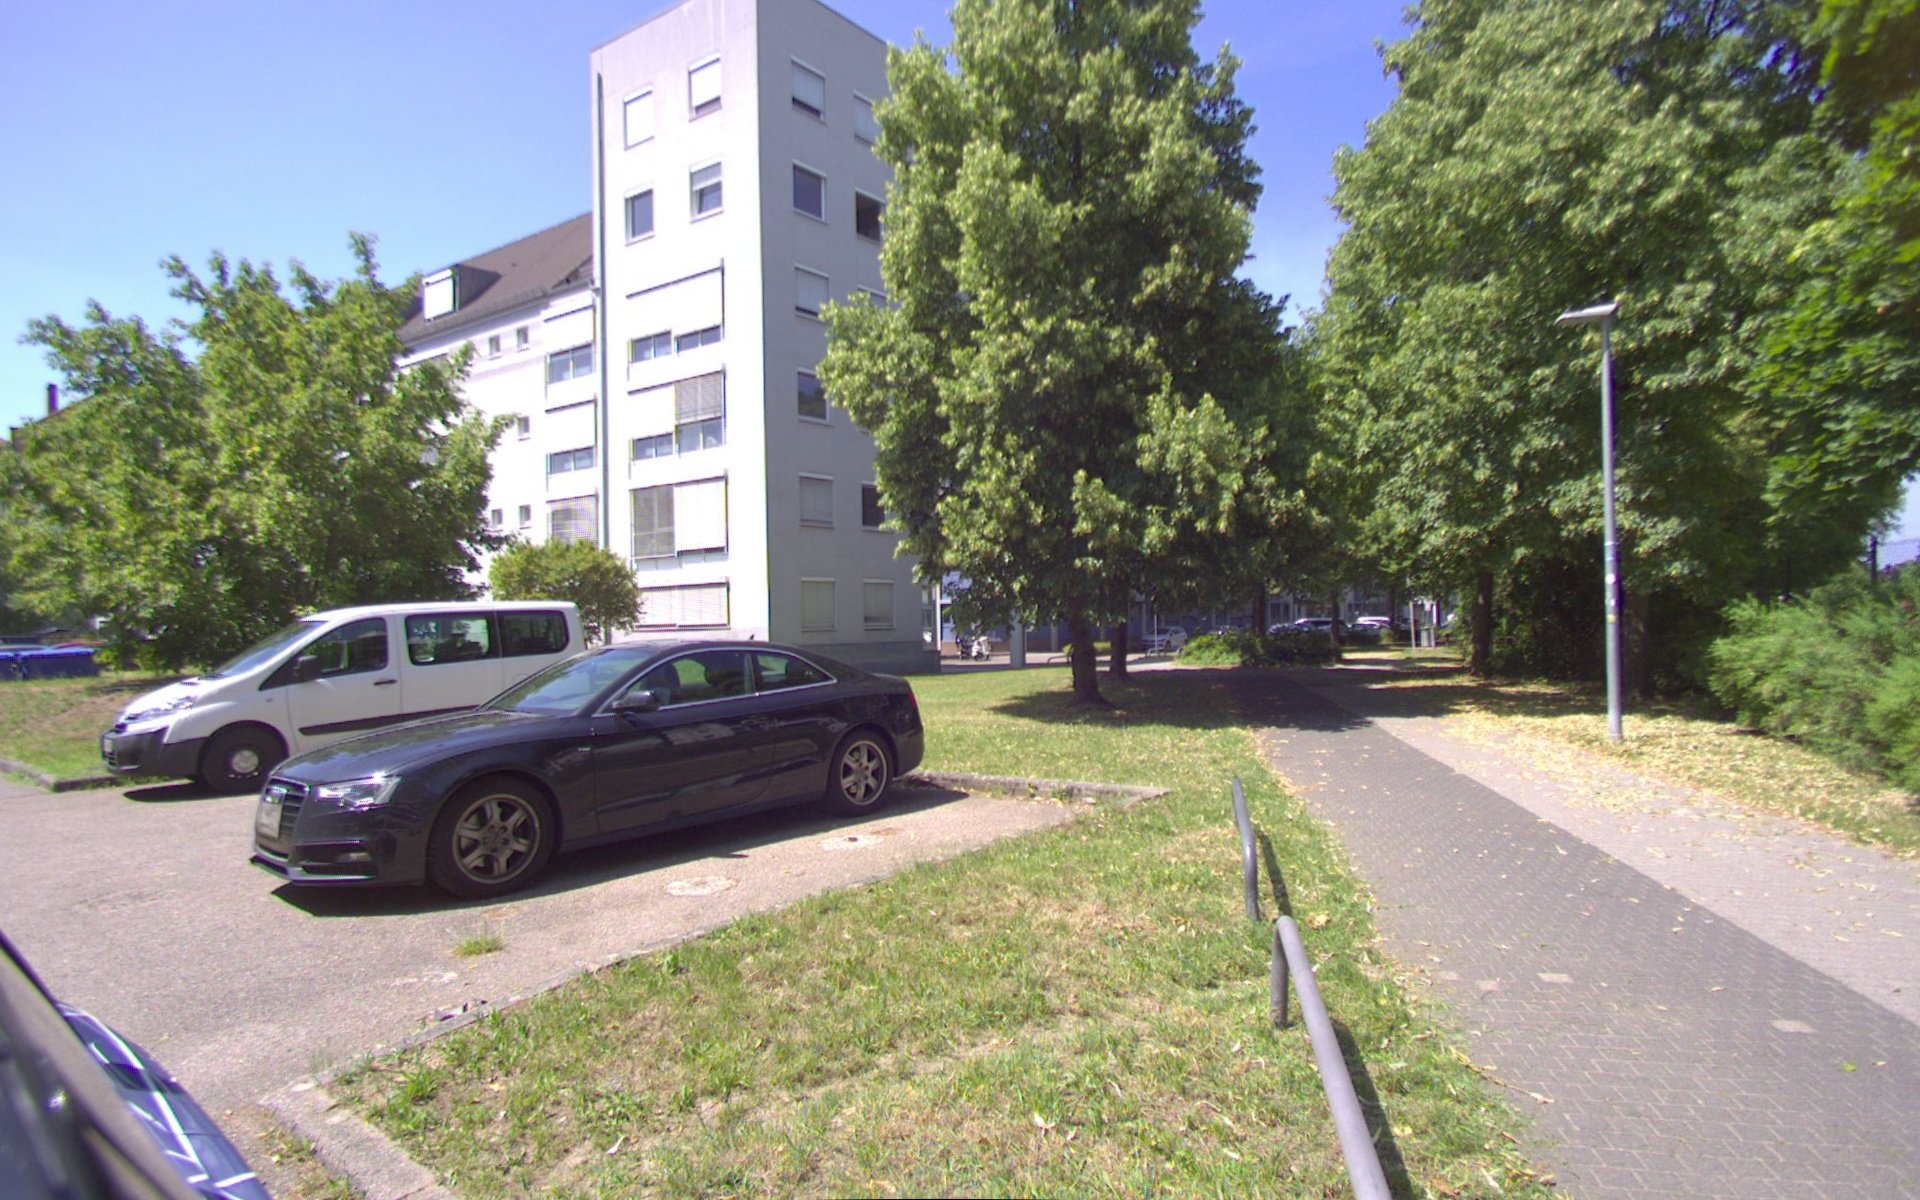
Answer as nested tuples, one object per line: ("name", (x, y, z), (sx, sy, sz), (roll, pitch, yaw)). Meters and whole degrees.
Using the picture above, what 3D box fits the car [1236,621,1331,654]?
("car", (16.849, 1.961, 52.744), (4.335, 1.622, 1.909), (-2, -2, 38))

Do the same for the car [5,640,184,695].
("car", (-28.048, 2.135, 32.933), (1.609, 1.581, 4.175), (-2, -1, 34))

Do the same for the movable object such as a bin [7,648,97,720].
("movable object such as a bin", (-19.048, 1.725, 21.236), (1.094, 1.399, 1.255), (-2, -2, 40))

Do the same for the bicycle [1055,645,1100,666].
("bicycle", (4.006, 1.875, 34.351), (0.734, 0.646, 1.594), (-6, -4, 41))

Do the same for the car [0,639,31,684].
("car", (-41.370, 2.578, 41.756), (2.005, 1.837, 4.175), (-2, -1, 34))

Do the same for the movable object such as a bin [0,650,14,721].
("movable object such as a bin", (-19.844, 1.716, 20.229), (1.094, 1.399, 1.255), (-2, -2, 40))

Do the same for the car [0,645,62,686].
("car", (-38.736, 2.642, 40.337), (1.609, 1.581, 4.175), (-2, -1, 34))

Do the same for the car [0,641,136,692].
("car", (-30.985, 2.242, 34.556), (1.609, 1.581, 4.175), (-2, -1, 34))

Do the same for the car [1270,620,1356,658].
("car", (19.343, 2.129, 55.517), (3.994, 2.029, 1.975), (-2, -2, 38))

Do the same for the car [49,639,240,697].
("car", (-25.487, 2.077, 31.792), (1.609, 1.581, 4.395), (-2, -1, 34))

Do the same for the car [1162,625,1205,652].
("car", (13.770, 2.356, 62.340), (1.798, 1.615, 3.862), (-1, -1, 25))

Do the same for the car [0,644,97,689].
("car", (-36.016, 2.555, 38.836), (1.609, 1.581, 4.175), (-2, -1, 34))

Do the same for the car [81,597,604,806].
("car", (-6.868, 0.961, 11.719), (2.067, 1.898, 4.796), (-2, -2, 42))

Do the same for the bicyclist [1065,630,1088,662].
("bicyclist", (3.962, 1.572, 34.302), (0.518, 1.053, 0.515), (-6, -5, 42))

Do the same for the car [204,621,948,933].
("car", (-2.324, 0.915, 7.016), (2.023, 1.391, 4.382), (-5, -4, 42))

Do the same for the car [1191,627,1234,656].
("car", (15.087, 2.460, 60.404), (1.798, 1.615, 3.862), (-1, -1, 25))
